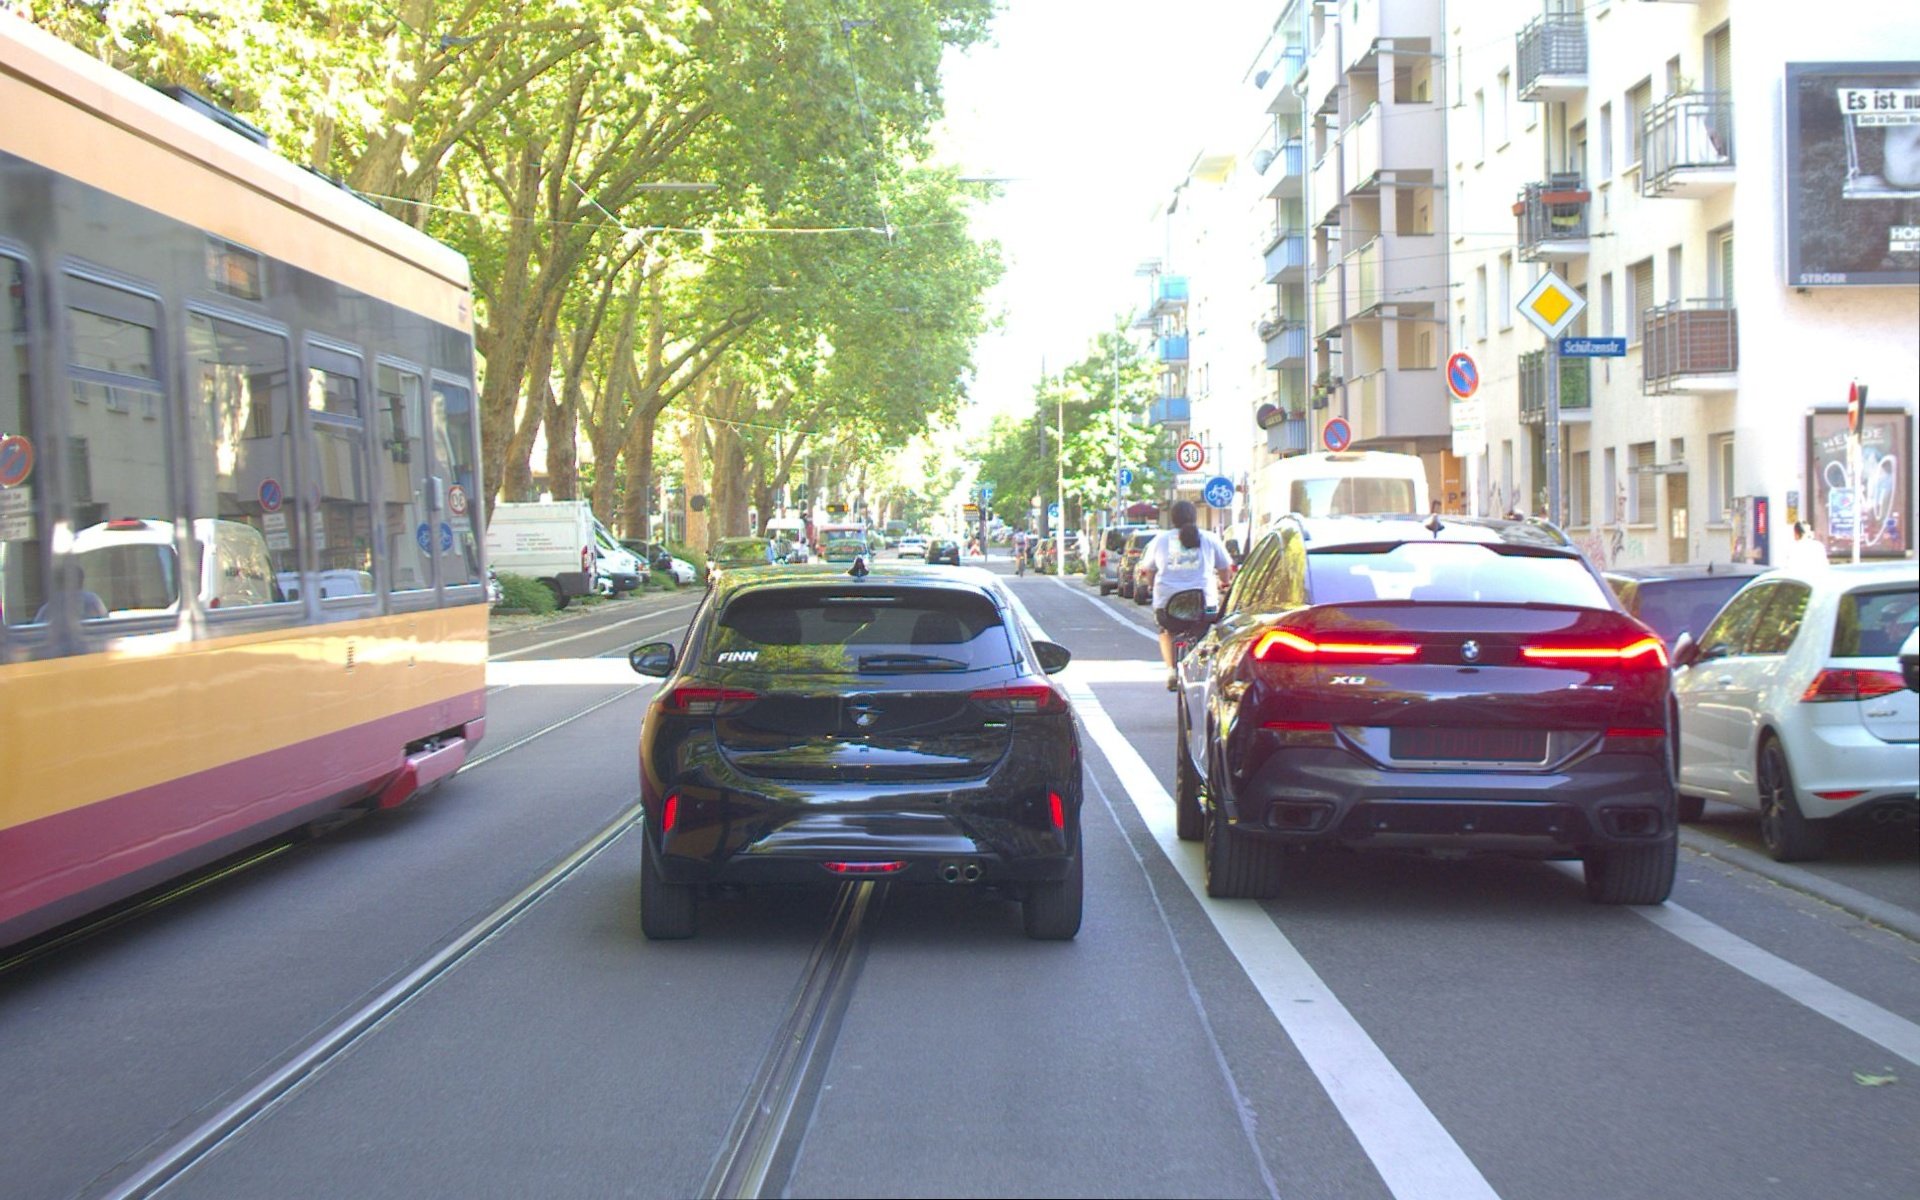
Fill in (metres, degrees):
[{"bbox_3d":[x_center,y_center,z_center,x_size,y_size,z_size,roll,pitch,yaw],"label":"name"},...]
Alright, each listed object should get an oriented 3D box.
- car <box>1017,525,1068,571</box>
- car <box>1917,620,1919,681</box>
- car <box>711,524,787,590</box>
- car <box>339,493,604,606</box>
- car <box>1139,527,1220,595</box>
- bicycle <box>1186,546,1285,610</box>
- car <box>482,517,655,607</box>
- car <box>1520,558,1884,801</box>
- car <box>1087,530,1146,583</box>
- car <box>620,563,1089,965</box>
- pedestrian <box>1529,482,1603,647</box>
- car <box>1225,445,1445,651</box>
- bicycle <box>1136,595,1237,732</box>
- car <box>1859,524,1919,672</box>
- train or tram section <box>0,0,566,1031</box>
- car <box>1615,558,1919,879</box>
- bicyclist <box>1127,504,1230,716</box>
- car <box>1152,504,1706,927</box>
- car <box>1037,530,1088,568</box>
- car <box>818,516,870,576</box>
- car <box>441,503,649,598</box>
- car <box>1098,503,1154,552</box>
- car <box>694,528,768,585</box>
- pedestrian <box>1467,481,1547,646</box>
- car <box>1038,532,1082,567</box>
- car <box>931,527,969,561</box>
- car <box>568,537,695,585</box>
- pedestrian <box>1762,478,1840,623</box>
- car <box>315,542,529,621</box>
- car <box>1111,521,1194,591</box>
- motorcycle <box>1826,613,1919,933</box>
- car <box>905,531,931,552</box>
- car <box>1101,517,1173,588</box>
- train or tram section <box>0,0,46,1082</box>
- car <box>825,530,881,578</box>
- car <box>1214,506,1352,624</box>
[{"bbox_3d":[3.077,-1.931,127.724,1.858,1.646,4.000,-1,1,2],"label":"car"},{"bbox_3d":[4.596,0.699,11.563,1.649,1.268,3.725,-3,1,0],"label":"car"},{"bbox_3d":[-4.966,-1.025,81.236,1.635,1.504,3.692,-1,1,-2],"label":"car"},{"bbox_3d":[-11.145,-1.170,78.717,5.740,2.527,2.162,0,1,1],"label":"car"},{"bbox_3d":[5.094,-0.933,80.085,1.724,1.520,4.512,-1,1,2],"label":"car"},{"bbox_3d":[5.265,-0.424,65.870,1.793,1.144,0.704,-3,1,0],"label":"bicycle"},{"bbox_3d":[-11.593,-1.144,102.126,4.943,2.559,2.083,-1,1,-3],"label":"car"},{"bbox_3d":[4.933,0.470,23.364,1.649,1.415,4.060,-3,1,2],"label":"car"},{"bbox_3d":[5.104,-1.439,112.456,1.858,1.646,4.000,-1,1,2],"label":"car"},{"bbox_3d":[-0.391,0.575,14.256,1.679,1.417,3.628,1,1,0],"label":"car"},{"bbox_3d":[6.850,-0.402,38.885,0.625,1.816,1.082,-2,0,2],"label":"pedestrian"},{"bbox_3d":[4.794,-0.681,44.820,2.149,2.487,6.089,-1,1,0],"label":"car"},{"bbox_3d":[1.901,0.517,29.065,0.701,1.088,1.990,1,1,0],"label":"bicycle"},{"bbox_3d":[11.752,-0.054,37.245,3.651,1.568,1.790,0,1,6],"label":"car"},{"bbox_3d":[-4.081,-0.590,15.869,2.937,3.606,11.062,1,1,1],"label":"train or tram section"},{"bbox_3d":[4.647,0.532,18.089,1.602,1.415,4.013,-3,1,0],"label":"car"},{"bbox_3d":[1.835,0.074,28.962,0.786,1.753,0.915,-1,1,0],"label":"bicyclist"},{"bbox_3d":[2.019,0.429,16.170,1.944,1.698,4.630,0,1,0],"label":"car"},{"bbox_3d":[4.291,-2.147,143.989,1.718,1.568,4.085,-1,1,-4],"label":"car"},{"bbox_3d":[-4.369,-2.058,130.121,1.917,2.219,4.961,-1,1,-2],"label":"car"},{"bbox_3d":[-11.231,-1.361,93.304,5.360,2.469,2.057,-1,1,1],"label":"car"},{"bbox_3d":[5.768,-2.526,120.088,1.858,1.646,4.000,-1,1,2],"label":"car"},{"bbox_3d":[-7.343,-1.410,110.520,1.993,1.694,4.485,-2,1,0],"label":"car"},{"bbox_3d":[6.183,-0.411,38.914,0.709,1.816,1.082,-2,0,2],"label":"pedestrian"},{"bbox_3d":[4.362,-2.240,150.753,1.718,1.485,3.682,-1,1,-1],"label":"car"},{"bbox_3d":[-0.504,-2.818,172.671,1.750,1.646,4.000,-1,1,2],"label":"car"},{"bbox_3d":[-10.805,-1.303,113.219,3.987,1.516,1.771,-1,1,-1],"label":"car"},{"bbox_3d":[9.303,-0.551,38.067,0.632,1.575,0.933,1,0,2],"label":"pedestrian"},{"bbox_3d":[-10.816,-0.384,69.318,3.987,1.491,1.830,-1,1,1],"label":"car"},{"bbox_3d":[4.833,-1.116,86.681,1.766,1.699,4.283,-1,1,-1],"label":"car"},{"bbox_3d":[4.790,0.694,14.676,2.133,1.284,0.643,-1,1,-21],"label":"motorcycle"},{"bbox_3d":[-2.820,-3.935,231.850,1.679,1.417,3.628,1,1,0],"label":"car"},{"bbox_3d":[4.874,-1.324,95.269,1.858,1.883,4.924,-1,1,2],"label":"car"},{"bbox_3d":[-4.352,-0.379,4.661,2.937,3.606,11.259,1,1,1],"label":"train or tram section"},{"bbox_3d":[-3.431,-1.483,110.483,1.718,1.504,3.723,-1,1,-2],"label":"car"},{"bbox_3d":[5.146,-0.577,55.230,1.858,1.814,4.351,0,1,1],"label":"car"}]
